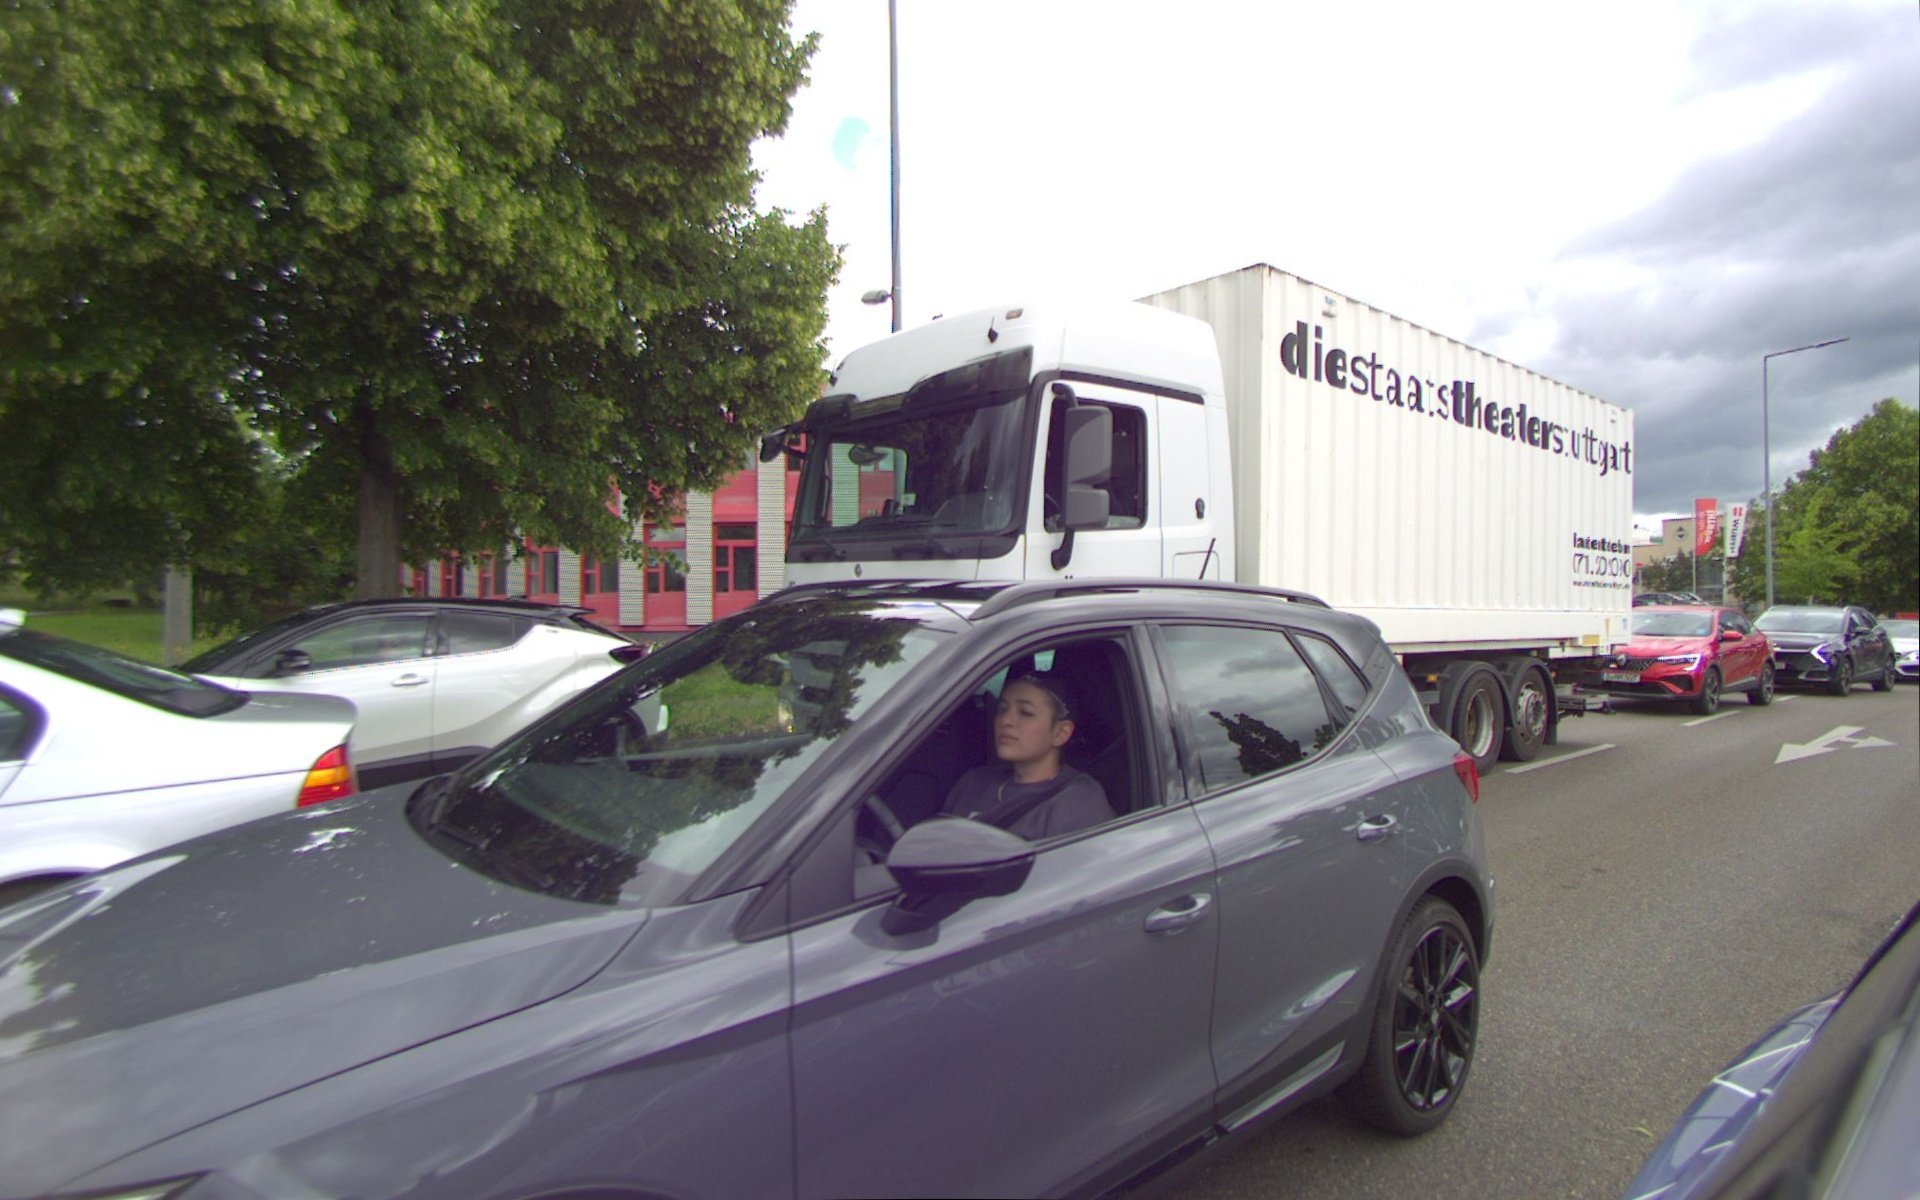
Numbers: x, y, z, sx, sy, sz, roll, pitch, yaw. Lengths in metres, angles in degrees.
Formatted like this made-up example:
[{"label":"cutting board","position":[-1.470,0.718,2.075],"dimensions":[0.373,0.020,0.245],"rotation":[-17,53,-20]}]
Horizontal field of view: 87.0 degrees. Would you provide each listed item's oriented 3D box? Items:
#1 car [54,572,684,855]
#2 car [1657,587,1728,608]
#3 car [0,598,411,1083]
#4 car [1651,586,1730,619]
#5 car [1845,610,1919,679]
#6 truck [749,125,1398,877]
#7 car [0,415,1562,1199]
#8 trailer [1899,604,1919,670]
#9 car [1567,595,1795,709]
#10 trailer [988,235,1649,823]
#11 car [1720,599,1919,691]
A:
[{"label":"car","position":[-4.029,0.599,7.250],"dimensions":[3.620,1.515,1.644],"rotation":[0,1,-42]},{"label":"car","position":[52.597,-0.150,72.761],"dimensions":[1.720,1.382,3.769],"rotation":[3,-3,-31]},{"label":"car","position":[-4.079,0.693,3.005],"dimensions":[4.044,1.371,1.816],"rotation":[0,1,-40]},{"label":"car","position":[46.362,0.214,64.287],"dimensions":[1.610,1.984,3.769],"rotation":[3,-3,-31]},{"label":"car","position":[22.075,0.992,23.333],"dimensions":[4.405,1.466,1.676],"rotation":[1,-1,-37]},{"label":"truck","position":[0.921,-0.488,7.337],"dimensions":[4.032,3.753,2.576],"rotation":[1,-1,-40]},{"label":"car","position":[-0.139,0.575,2.634],"dimensions":[3.928,1.505,1.702],"rotation":[0,0,-39]},{"label":"trailer","position":[25.131,0.949,25.648],"dimensions":[3.241,1.614,1.413],"rotation":[1,-1,-37]},{"label":"car","position":[11.224,0.717,15.661],"dimensions":[4.239,1.543,1.712],"rotation":[1,0,-37]},{"label":"trailer","position":[3.986,-0.432,9.904],"dimensions":[7.625,3.752,2.571],"rotation":[1,0,-40]},{"label":"car","position":[16.561,0.796,19.437],"dimensions":[4.319,1.581,1.851],"rotation":[1,0,-34]}]
